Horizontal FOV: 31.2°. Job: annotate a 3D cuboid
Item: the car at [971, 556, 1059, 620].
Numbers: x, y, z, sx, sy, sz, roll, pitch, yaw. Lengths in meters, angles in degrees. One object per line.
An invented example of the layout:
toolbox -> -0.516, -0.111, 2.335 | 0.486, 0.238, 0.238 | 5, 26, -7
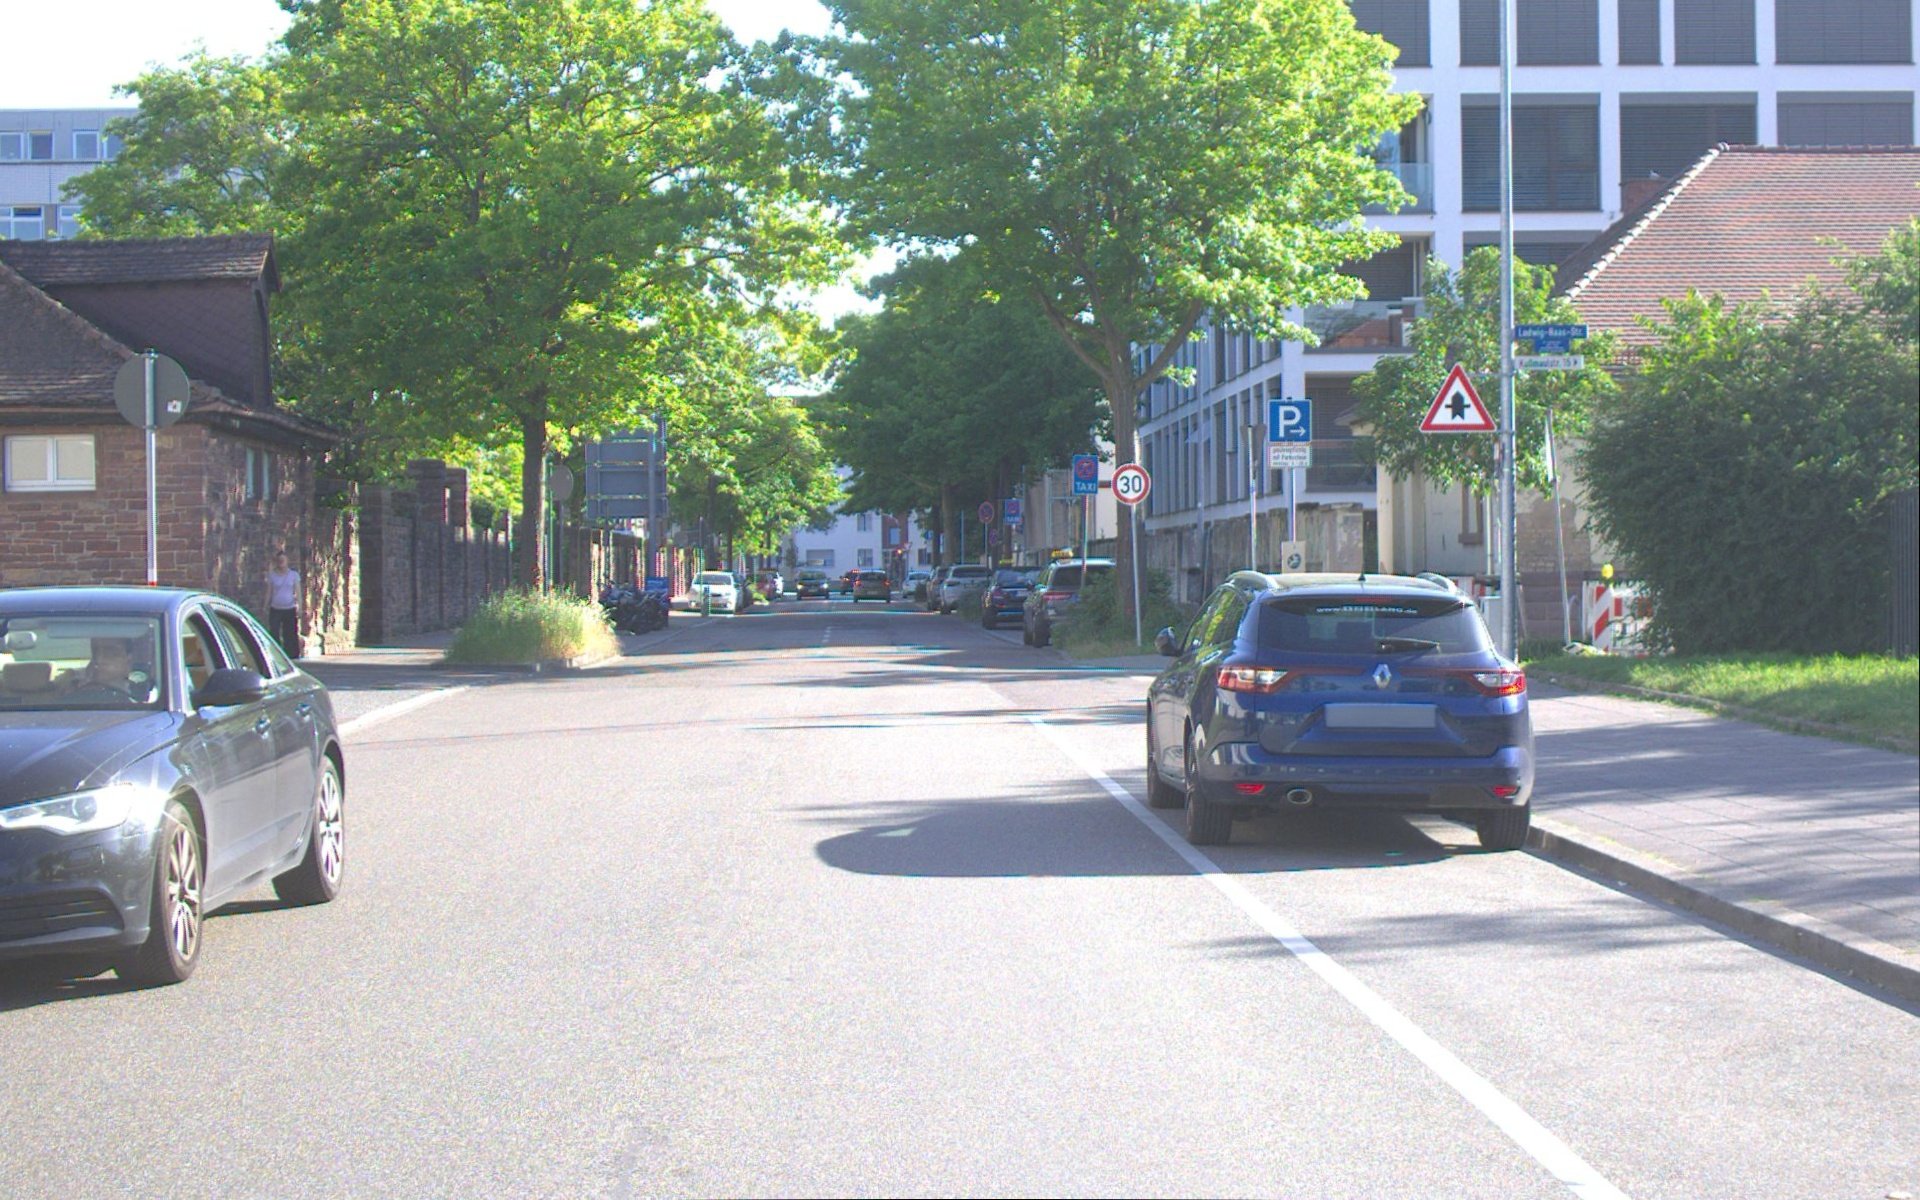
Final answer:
car -> 1.254, -0.298, 80.348 | 1.767, 1.435, 4.000 | -1, 1, -3

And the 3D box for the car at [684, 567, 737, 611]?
car -> -8.760, -0.406, 120.918 | 1.767, 1.482, 4.000 | -1, 1, -3

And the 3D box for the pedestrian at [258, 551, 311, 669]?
pedestrian -> -9.087, 0.126, 46.260 | 0.521, 1.557, 1.096 | 0, 1, -2

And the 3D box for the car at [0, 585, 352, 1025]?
car -> -3.768, 0.696, 13.884 | 1.762, 1.437, 4.538 | -1, 1, 1

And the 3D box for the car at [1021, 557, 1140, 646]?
car -> 2.023, 0.010, 59.070 | 1.703, 1.463, 4.789 | 0, 1, -2

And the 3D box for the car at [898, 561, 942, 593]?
car -> -1.854, -1.060, 157.506 | 1.993, 1.420, 3.836 | 0, 1, -1

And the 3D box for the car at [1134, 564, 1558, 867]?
car -> 2.046, 0.558, 19.378 | 1.817, 1.448, 4.214 | 2, 1, -1

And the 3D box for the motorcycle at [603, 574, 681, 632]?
motorcycle -> -7.109, 0.060, 77.026 | 0.577, 1.271, 2.118 | 0, 1, 32

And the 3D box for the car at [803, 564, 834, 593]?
car -> -7.711, -1.190, 187.476 | 1.653, 1.525, 4.000 | 0, 1, -2

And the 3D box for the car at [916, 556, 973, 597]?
car -> -0.584, -0.850, 124.929 | 1.993, 1.460, 3.836 | 0, 1, -1

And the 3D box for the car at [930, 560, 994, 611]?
car -> 0.049, -0.485, 109.256 | 1.950, 1.573, 3.836 | 0, 1, -1

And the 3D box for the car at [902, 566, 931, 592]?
car -> -2.396, -1.181, 190.327 | 1.585, 1.395, 3.836 | 0, 1, -1

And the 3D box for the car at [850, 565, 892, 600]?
car -> -4.050, -0.814, 155.488 | 1.767, 1.543, 4.066 | -1, 1, -3

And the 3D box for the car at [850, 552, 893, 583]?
car -> -4.037, -1.512, 157.296 | 1.889, 1.395, 3.837 | 0, 1, -1
